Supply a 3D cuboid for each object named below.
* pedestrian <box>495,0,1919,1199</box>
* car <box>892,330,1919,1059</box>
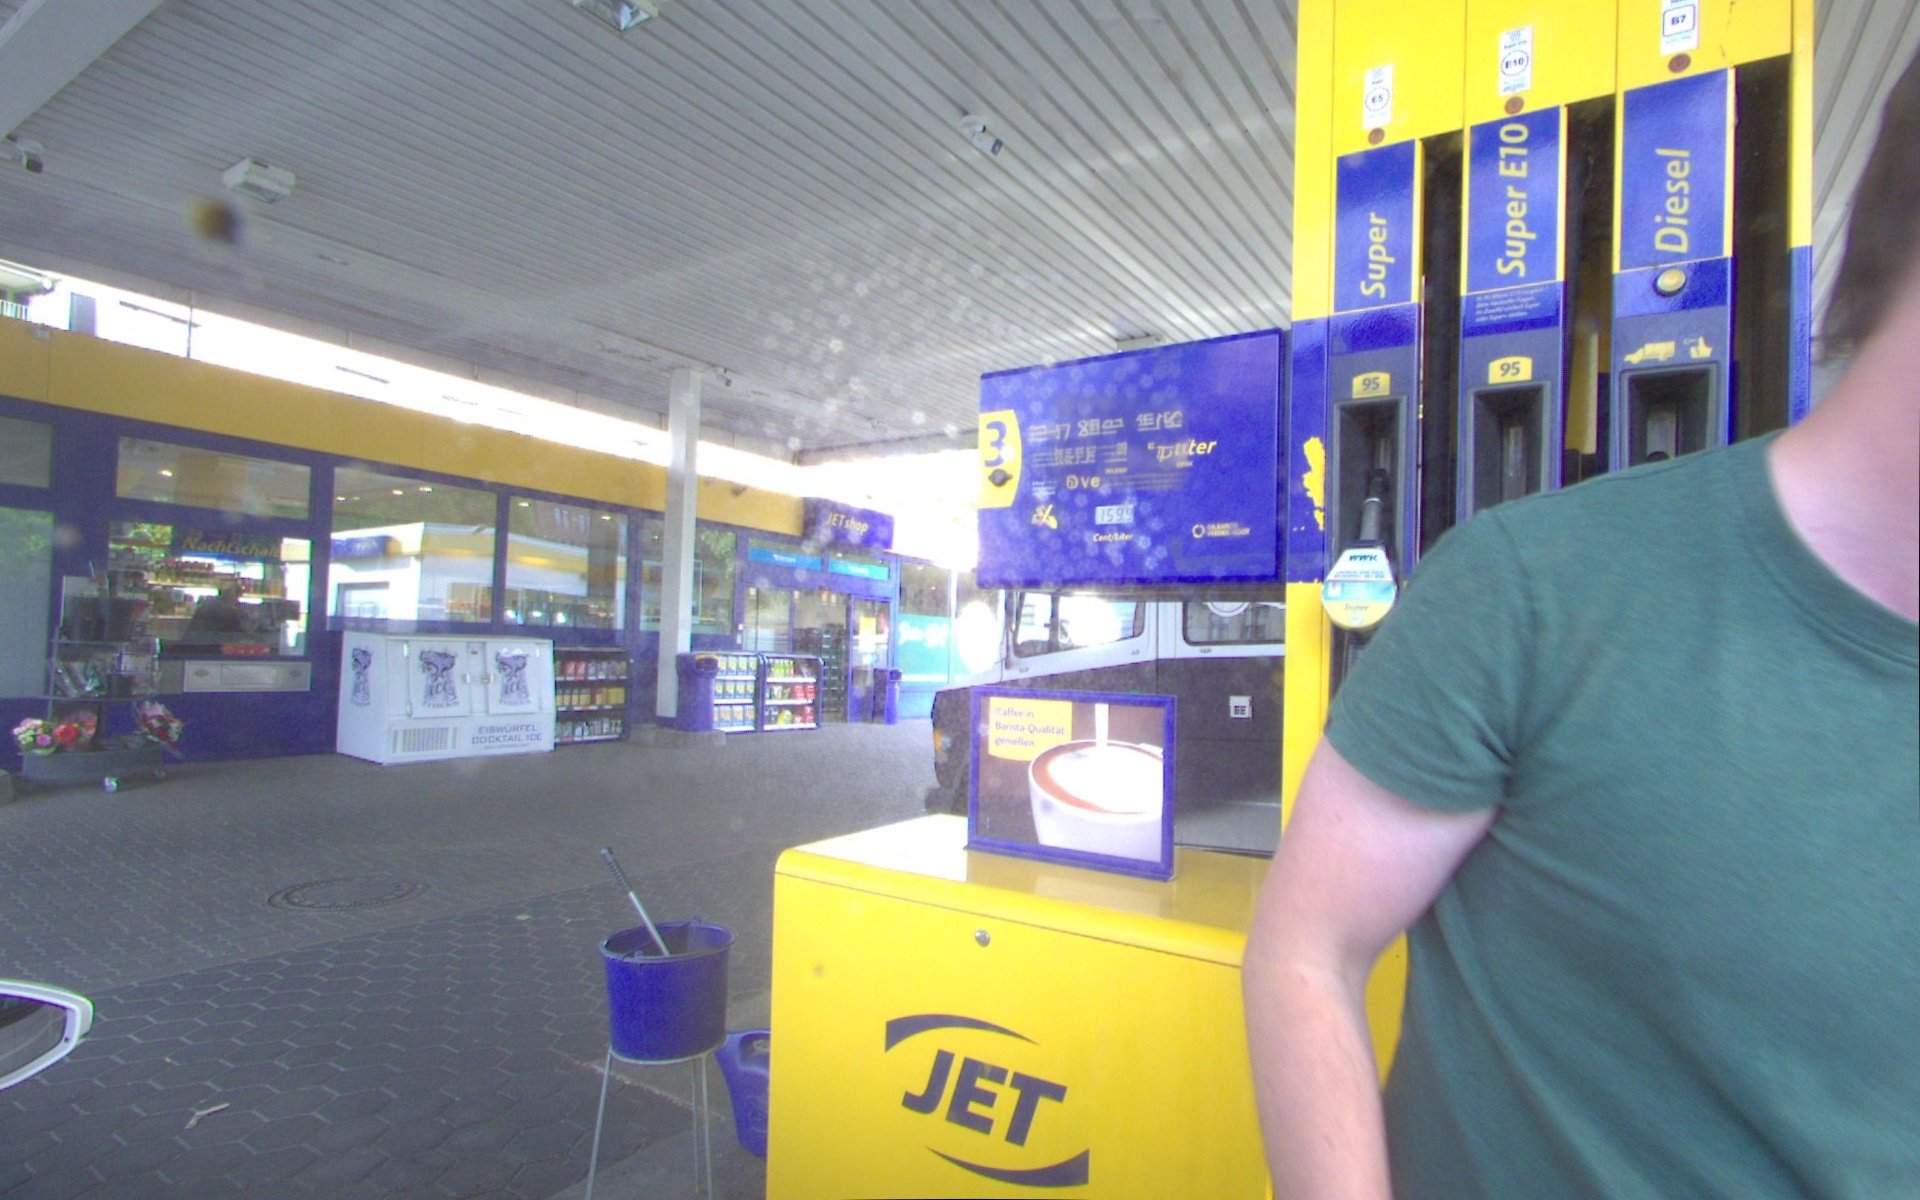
[{"bbox_3d":[0.536,0.560,0.546,1.167,1.750,0.988,-2,-2,35],"label":"pedestrian"},{"bbox_3d":[2.354,0.435,6.009,5.271,2.759,2.193,-1,-3,34],"label":"car"}]
